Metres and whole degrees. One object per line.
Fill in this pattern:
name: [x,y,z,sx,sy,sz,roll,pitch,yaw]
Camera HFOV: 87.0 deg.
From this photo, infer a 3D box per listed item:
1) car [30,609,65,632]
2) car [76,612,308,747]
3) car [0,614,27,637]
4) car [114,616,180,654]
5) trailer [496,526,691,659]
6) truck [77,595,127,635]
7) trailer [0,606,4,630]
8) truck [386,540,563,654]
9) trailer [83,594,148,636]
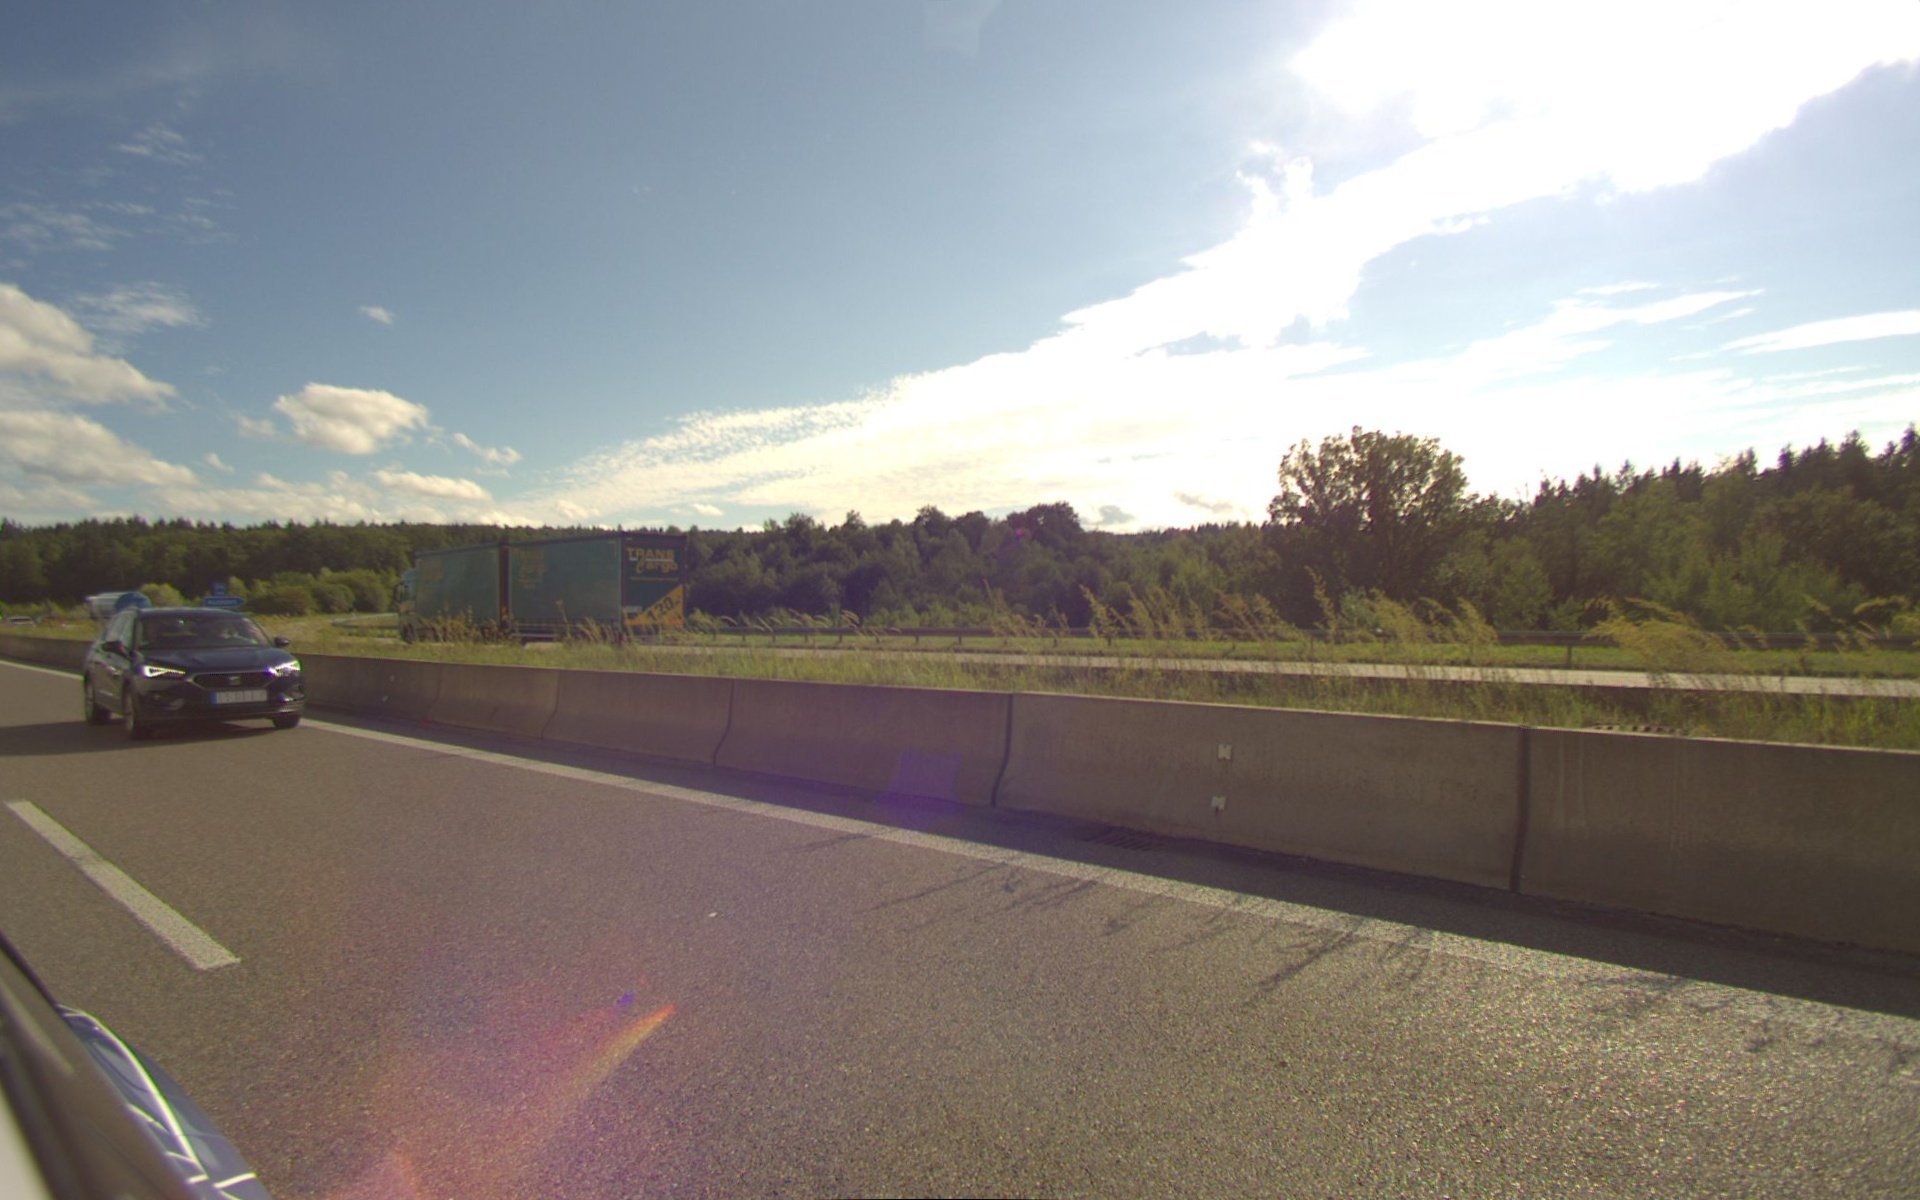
car: [-80.746,1.834,89.581,3.998,1.895,1.742,-1,3,41]
car: [-10.557,0.948,13.803,4.157,1.554,1.756,-1,-1,42]
car: [-74.557,1.967,79.330,3.765,1.636,1.654,-1,3,41]
car: [-38.435,1.607,47.798,3.998,1.593,1.652,-1,3,41]
trailer: [-13.280,-0.191,36.204,8.546,4.276,2.698,-1,-1,40]
truck: [-76.653,1.346,90.378,6.100,3.298,2.295,-1,3,40]
trailer: [-146.284,2.739,152.311,8.949,3.555,2.770,-1,0,41]
truck: [-20.517,-0.058,42.334,10.336,4.276,2.684,-1,-1,40]
trailer: [-72.707,1.307,87.026,10.867,3.308,2.298,-1,3,40]
